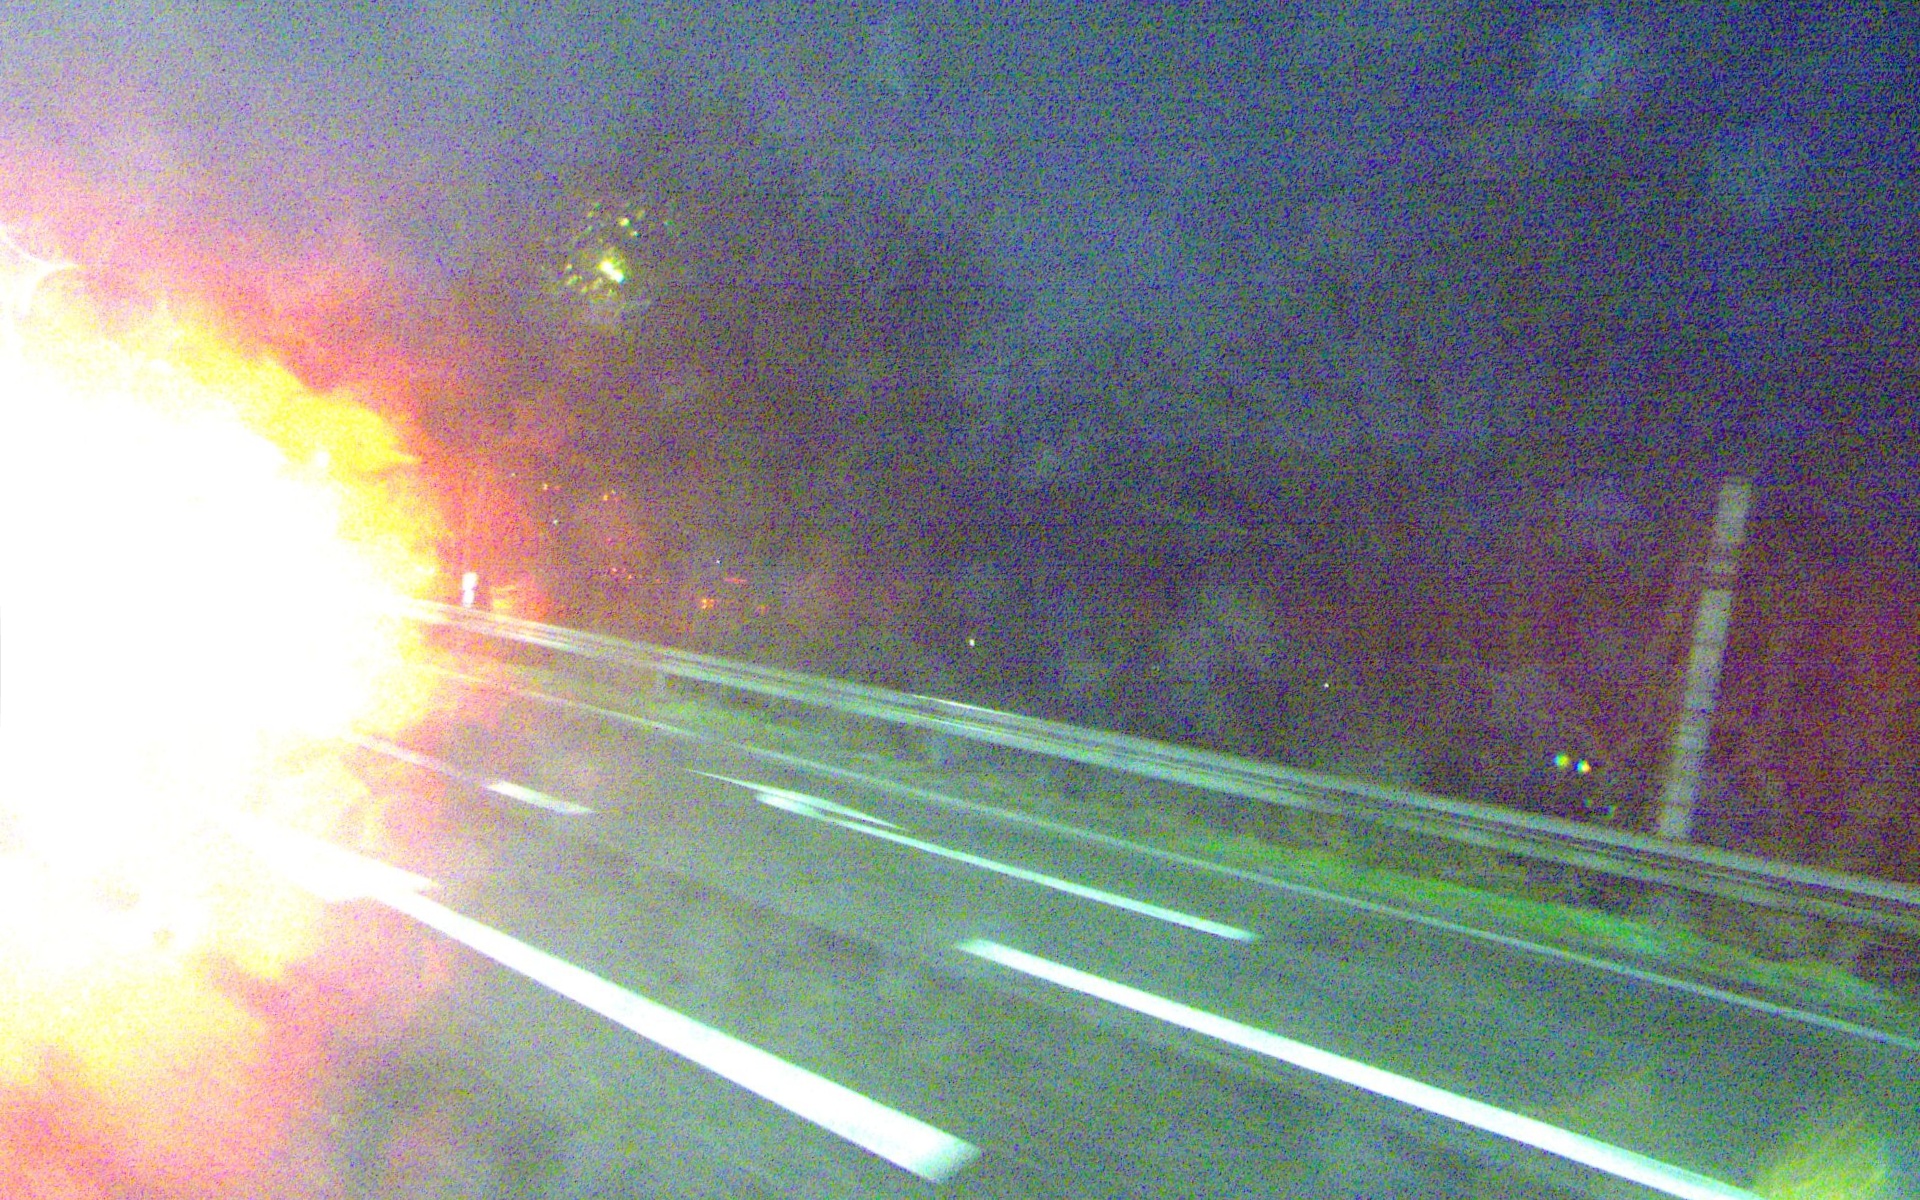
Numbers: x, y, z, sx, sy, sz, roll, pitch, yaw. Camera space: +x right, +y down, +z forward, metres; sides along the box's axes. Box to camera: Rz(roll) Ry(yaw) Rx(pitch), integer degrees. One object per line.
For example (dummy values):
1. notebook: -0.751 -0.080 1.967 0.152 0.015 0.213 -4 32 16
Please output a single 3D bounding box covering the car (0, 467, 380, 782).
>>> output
1. car: -5.935 0.035 6.754 3.712 1.582 1.744 7 -2 30
